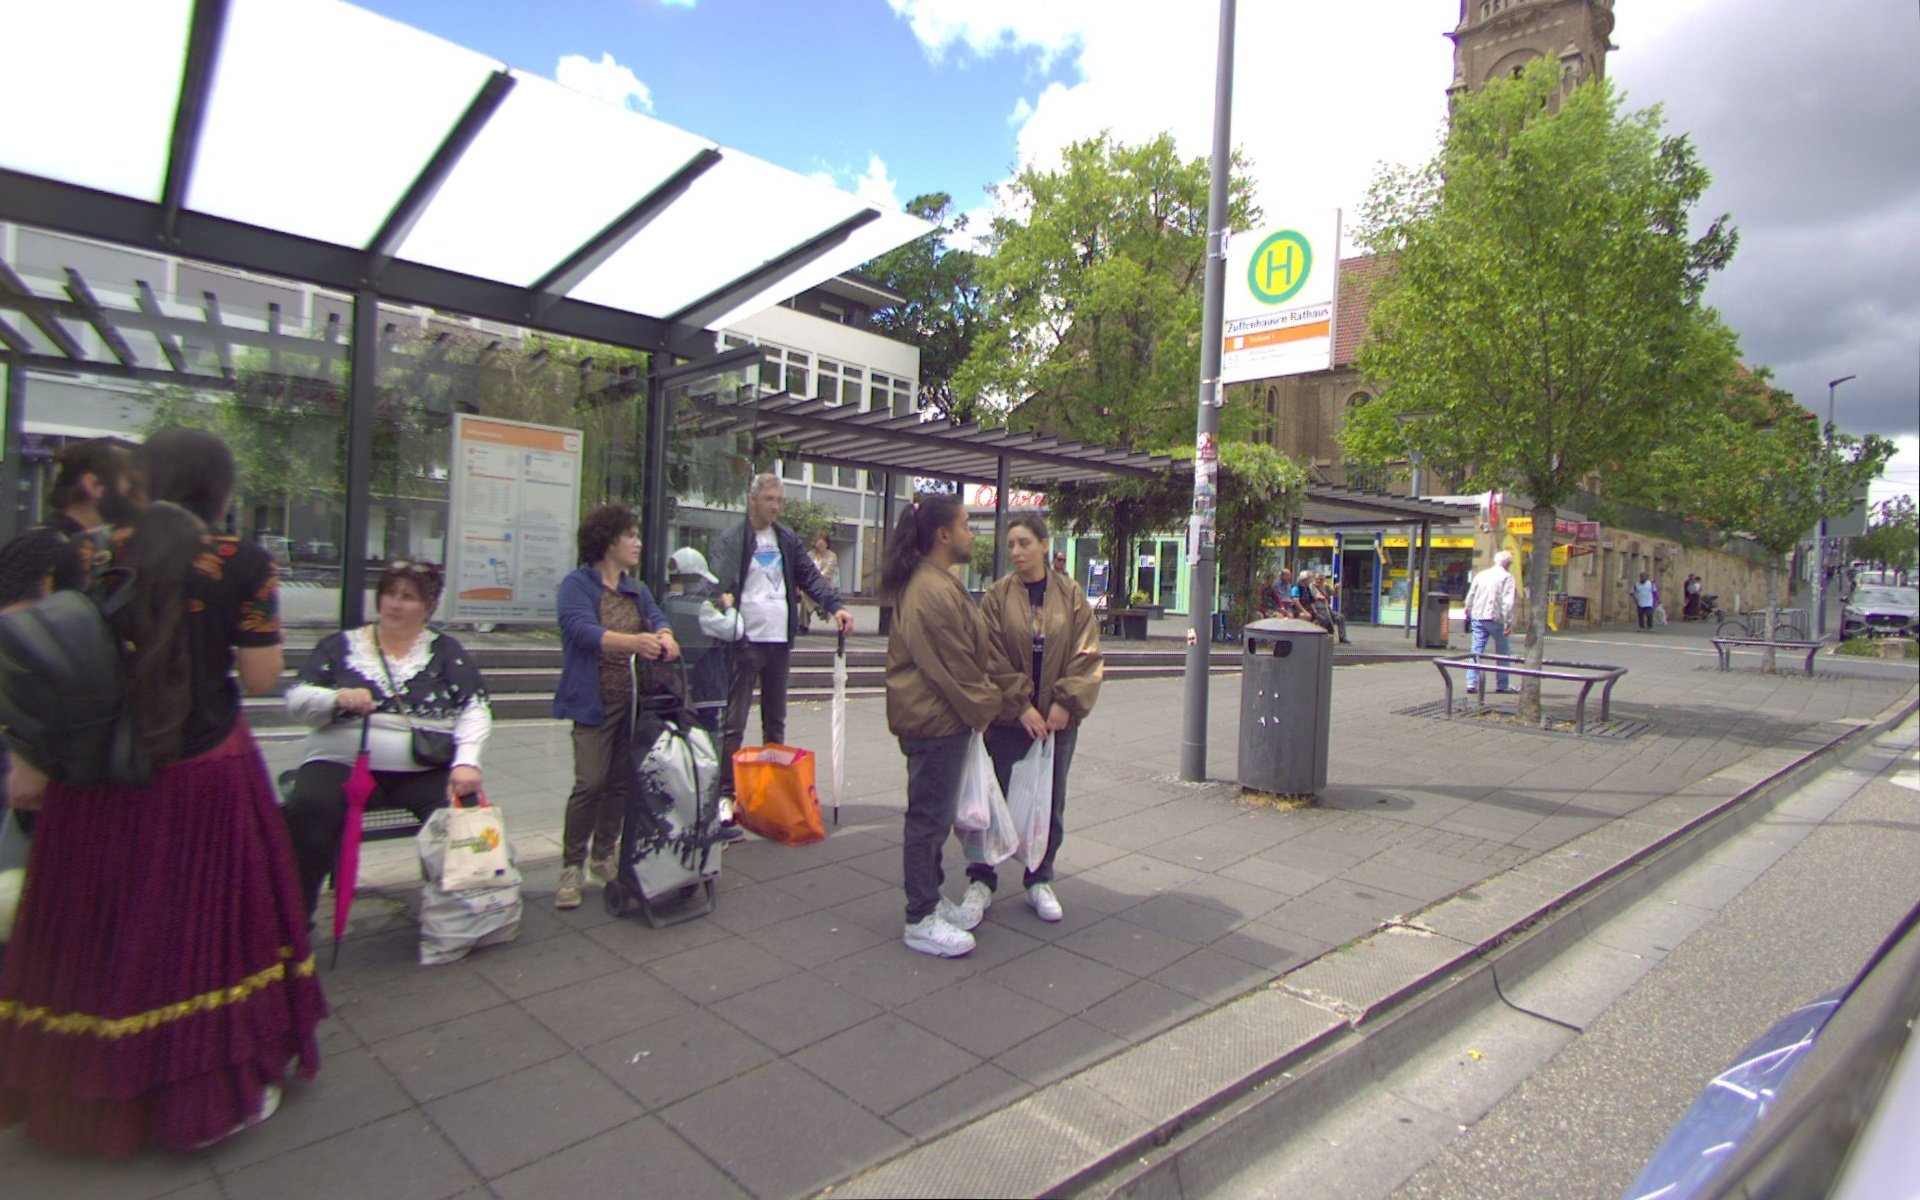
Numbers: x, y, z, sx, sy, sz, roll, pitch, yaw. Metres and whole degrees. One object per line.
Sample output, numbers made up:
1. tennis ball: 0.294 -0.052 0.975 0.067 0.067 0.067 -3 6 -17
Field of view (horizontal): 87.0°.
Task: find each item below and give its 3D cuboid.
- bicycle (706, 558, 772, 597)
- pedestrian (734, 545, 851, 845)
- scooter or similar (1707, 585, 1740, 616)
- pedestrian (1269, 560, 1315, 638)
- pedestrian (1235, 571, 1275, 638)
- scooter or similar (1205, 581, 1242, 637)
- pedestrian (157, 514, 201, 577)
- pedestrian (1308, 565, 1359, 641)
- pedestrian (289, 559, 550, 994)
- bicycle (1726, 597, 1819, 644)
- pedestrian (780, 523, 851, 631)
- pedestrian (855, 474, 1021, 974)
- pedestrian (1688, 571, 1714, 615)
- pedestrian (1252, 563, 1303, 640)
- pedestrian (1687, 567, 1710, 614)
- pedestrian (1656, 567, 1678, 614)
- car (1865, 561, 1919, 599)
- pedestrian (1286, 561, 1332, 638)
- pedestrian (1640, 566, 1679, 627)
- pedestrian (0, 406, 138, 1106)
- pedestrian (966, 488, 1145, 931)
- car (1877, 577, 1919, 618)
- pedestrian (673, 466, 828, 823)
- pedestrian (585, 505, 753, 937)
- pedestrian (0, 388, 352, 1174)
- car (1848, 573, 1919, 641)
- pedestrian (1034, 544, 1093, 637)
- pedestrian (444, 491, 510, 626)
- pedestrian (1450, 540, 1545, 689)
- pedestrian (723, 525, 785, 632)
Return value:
1. bicycle: -7.386 -0.753 33.826 1.999 1.156 0.684 4 2 15
2. pedestrian: -0.787 0.415 4.732 0.348 1.322 0.390 1 3 -40
3. scooter or similar: 27.515 0.015 36.472 0.550 1.085 0.815 -1 3 -36
4. pedestrian: 5.846 -0.022 17.838 0.515 1.337 0.499 3 0 -38
5. pedestrian: 4.996 0.081 17.166 0.361 1.102 0.477 3 0 -38
6. scooter or similar: 4.445 0.150 17.049 0.496 0.905 0.250 3 0 -11
7. pedestrian: -17.015 -1.173 22.053 0.563 1.340 0.541 1 0 22
8. pedestrian: 6.850 0.051 18.558 0.575 1.337 0.617 3 0 -39
9. pedestrian: -1.711 0.496 3.226 0.377 1.226 0.624 5 3 41
10. bicycle: 19.954 0.490 24.895 1.725 1.008 0.340 4 3 40
11. pedestrian: -1.781 -0.287 12.538 0.665 1.285 0.769 1 0 10
12. pedestrian: -0.065 0.384 3.469 0.477 1.568 0.544 2 1 2
13. pedestrian: 26.585 -0.242 36.291 0.574 1.542 0.590 0 2 -41
14. pedestrian: 5.449 0.017 17.378 0.531 1.278 0.570 3 0 -38
15. pedestrian: 26.911 -0.362 36.877 0.497 1.665 0.474 -1 3 -36
16. pedestrian: 25.394 -0.349 36.340 0.497 1.665 0.474 -1 3 -36
17. car: 49.868 -1.119 54.004 4.947 1.869 1.887 -3 4 -43
18. pedestrian: 6.282 -0.011 18.220 0.564 1.337 0.496 3 0 -39
19. pedestrian: 20.672 -0.112 29.917 0.754 1.751 0.593 4 3 23
20. pedestrian: -2.336 0.347 2.465 0.345 1.585 0.395 2 1 -5
21. pedestrian: 0.348 0.384 3.880 0.477 1.568 0.515 1 2 -16
22. car: 38.153 -0.108 40.650 1.753 1.458 4.031 3 4 40
23. pedestrian: -1.077 0.200 5.195 0.566 1.701 0.512 0 2 -42
24. pedestrian: -1.058 0.398 3.684 0.377 1.460 0.410 5 3 42
25. pedestrian: -1.803 0.357 2.315 0.493 1.585 0.497 2 1 7
26. car: 26.479 0.148 28.659 1.928 1.745 4.505 4 3 41
27. pedestrian: 1.514 -0.150 14.863 0.536 1.323 0.625 1 2 -38
28. pedestrian: -4.970 -0.413 10.399 0.535 1.340 0.570 1 0 -32
29. pedestrian: 6.372 0.157 12.011 0.700 1.703 0.687 1 1 -31
30. pedestrian: -2.472 -0.254 12.137 0.555 1.243 0.570 1 0 -32
